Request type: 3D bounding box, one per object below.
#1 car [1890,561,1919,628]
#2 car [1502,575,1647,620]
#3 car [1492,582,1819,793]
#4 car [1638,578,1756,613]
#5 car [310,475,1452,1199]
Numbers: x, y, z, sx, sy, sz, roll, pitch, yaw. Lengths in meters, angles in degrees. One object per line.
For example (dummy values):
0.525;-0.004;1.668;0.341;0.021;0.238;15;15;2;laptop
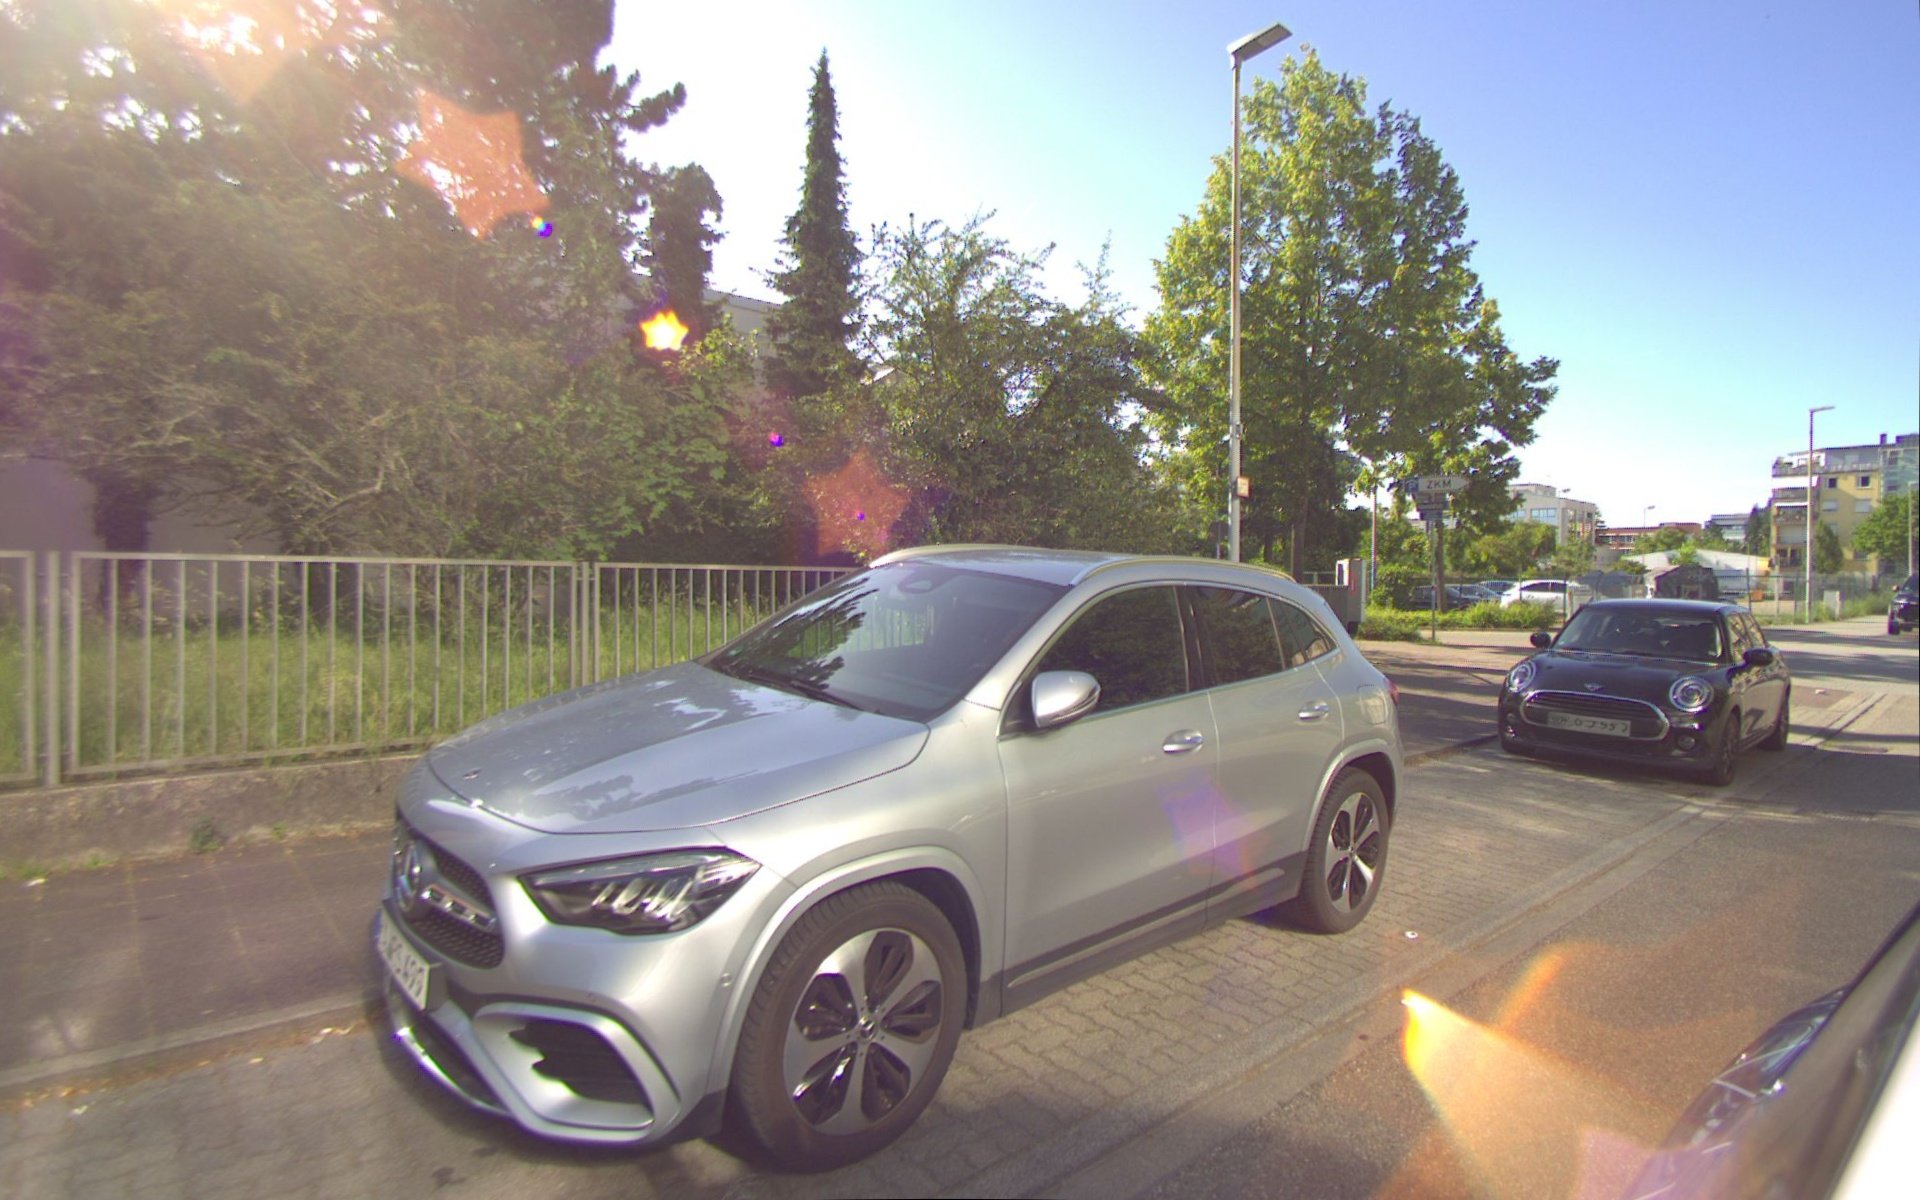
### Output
26.119;-0.148;26.547;4.030;1.716;1.998;-1;2;-40;car
23.776;-0.152;39.281;1.964;1.629;4.423;-1;1;-38;car
6.518;0.613;9.341;3.700;1.490;1.655;-1;3;-42;car
35.211;-0.261;48.423;1.863;1.579;4.240;-1;1;-38;car
0.081;0.519;3.969;4.220;1.649;1.829;-1;3;-42;car
